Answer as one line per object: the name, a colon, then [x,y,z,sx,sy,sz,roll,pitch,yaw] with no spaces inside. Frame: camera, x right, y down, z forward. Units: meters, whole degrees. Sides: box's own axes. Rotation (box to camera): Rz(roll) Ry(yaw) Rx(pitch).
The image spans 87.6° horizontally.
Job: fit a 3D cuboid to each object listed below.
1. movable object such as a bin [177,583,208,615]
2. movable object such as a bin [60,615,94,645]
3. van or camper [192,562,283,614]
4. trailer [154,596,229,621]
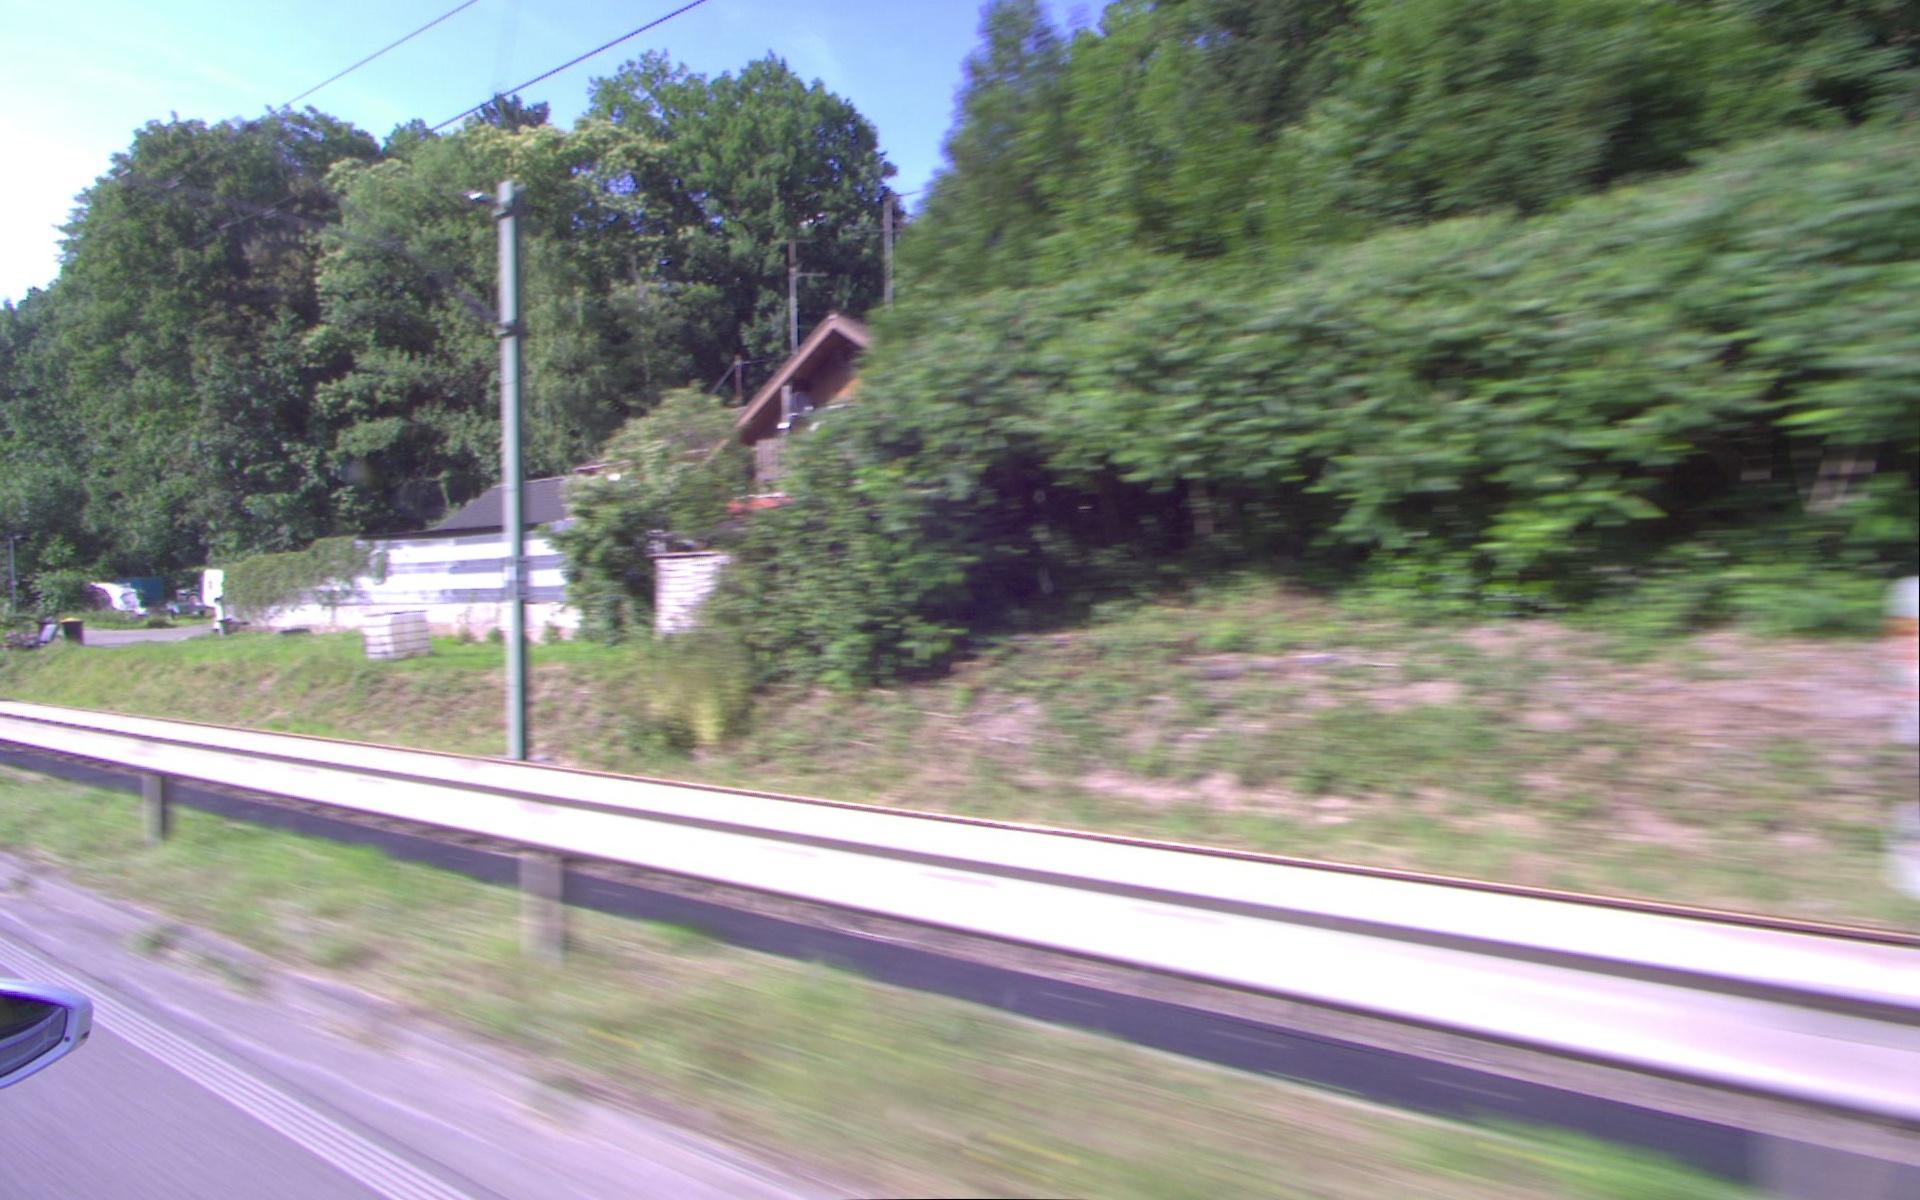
movable object such as a bin: [-45.363,-0.060,59.179,1.772,1.825,0.864,0,0,32]
movable object such as a bin: [-34.055,1.155,38.616,0.923,1.122,0.851,0,0,39]
van or camper: [-40.777,-0.608,56.485,5.690,2.676,2.188,-1,-1,32]
trailer: [-41.200,0.473,53.676,3.661,1.207,2.063,-1,-2,32]
